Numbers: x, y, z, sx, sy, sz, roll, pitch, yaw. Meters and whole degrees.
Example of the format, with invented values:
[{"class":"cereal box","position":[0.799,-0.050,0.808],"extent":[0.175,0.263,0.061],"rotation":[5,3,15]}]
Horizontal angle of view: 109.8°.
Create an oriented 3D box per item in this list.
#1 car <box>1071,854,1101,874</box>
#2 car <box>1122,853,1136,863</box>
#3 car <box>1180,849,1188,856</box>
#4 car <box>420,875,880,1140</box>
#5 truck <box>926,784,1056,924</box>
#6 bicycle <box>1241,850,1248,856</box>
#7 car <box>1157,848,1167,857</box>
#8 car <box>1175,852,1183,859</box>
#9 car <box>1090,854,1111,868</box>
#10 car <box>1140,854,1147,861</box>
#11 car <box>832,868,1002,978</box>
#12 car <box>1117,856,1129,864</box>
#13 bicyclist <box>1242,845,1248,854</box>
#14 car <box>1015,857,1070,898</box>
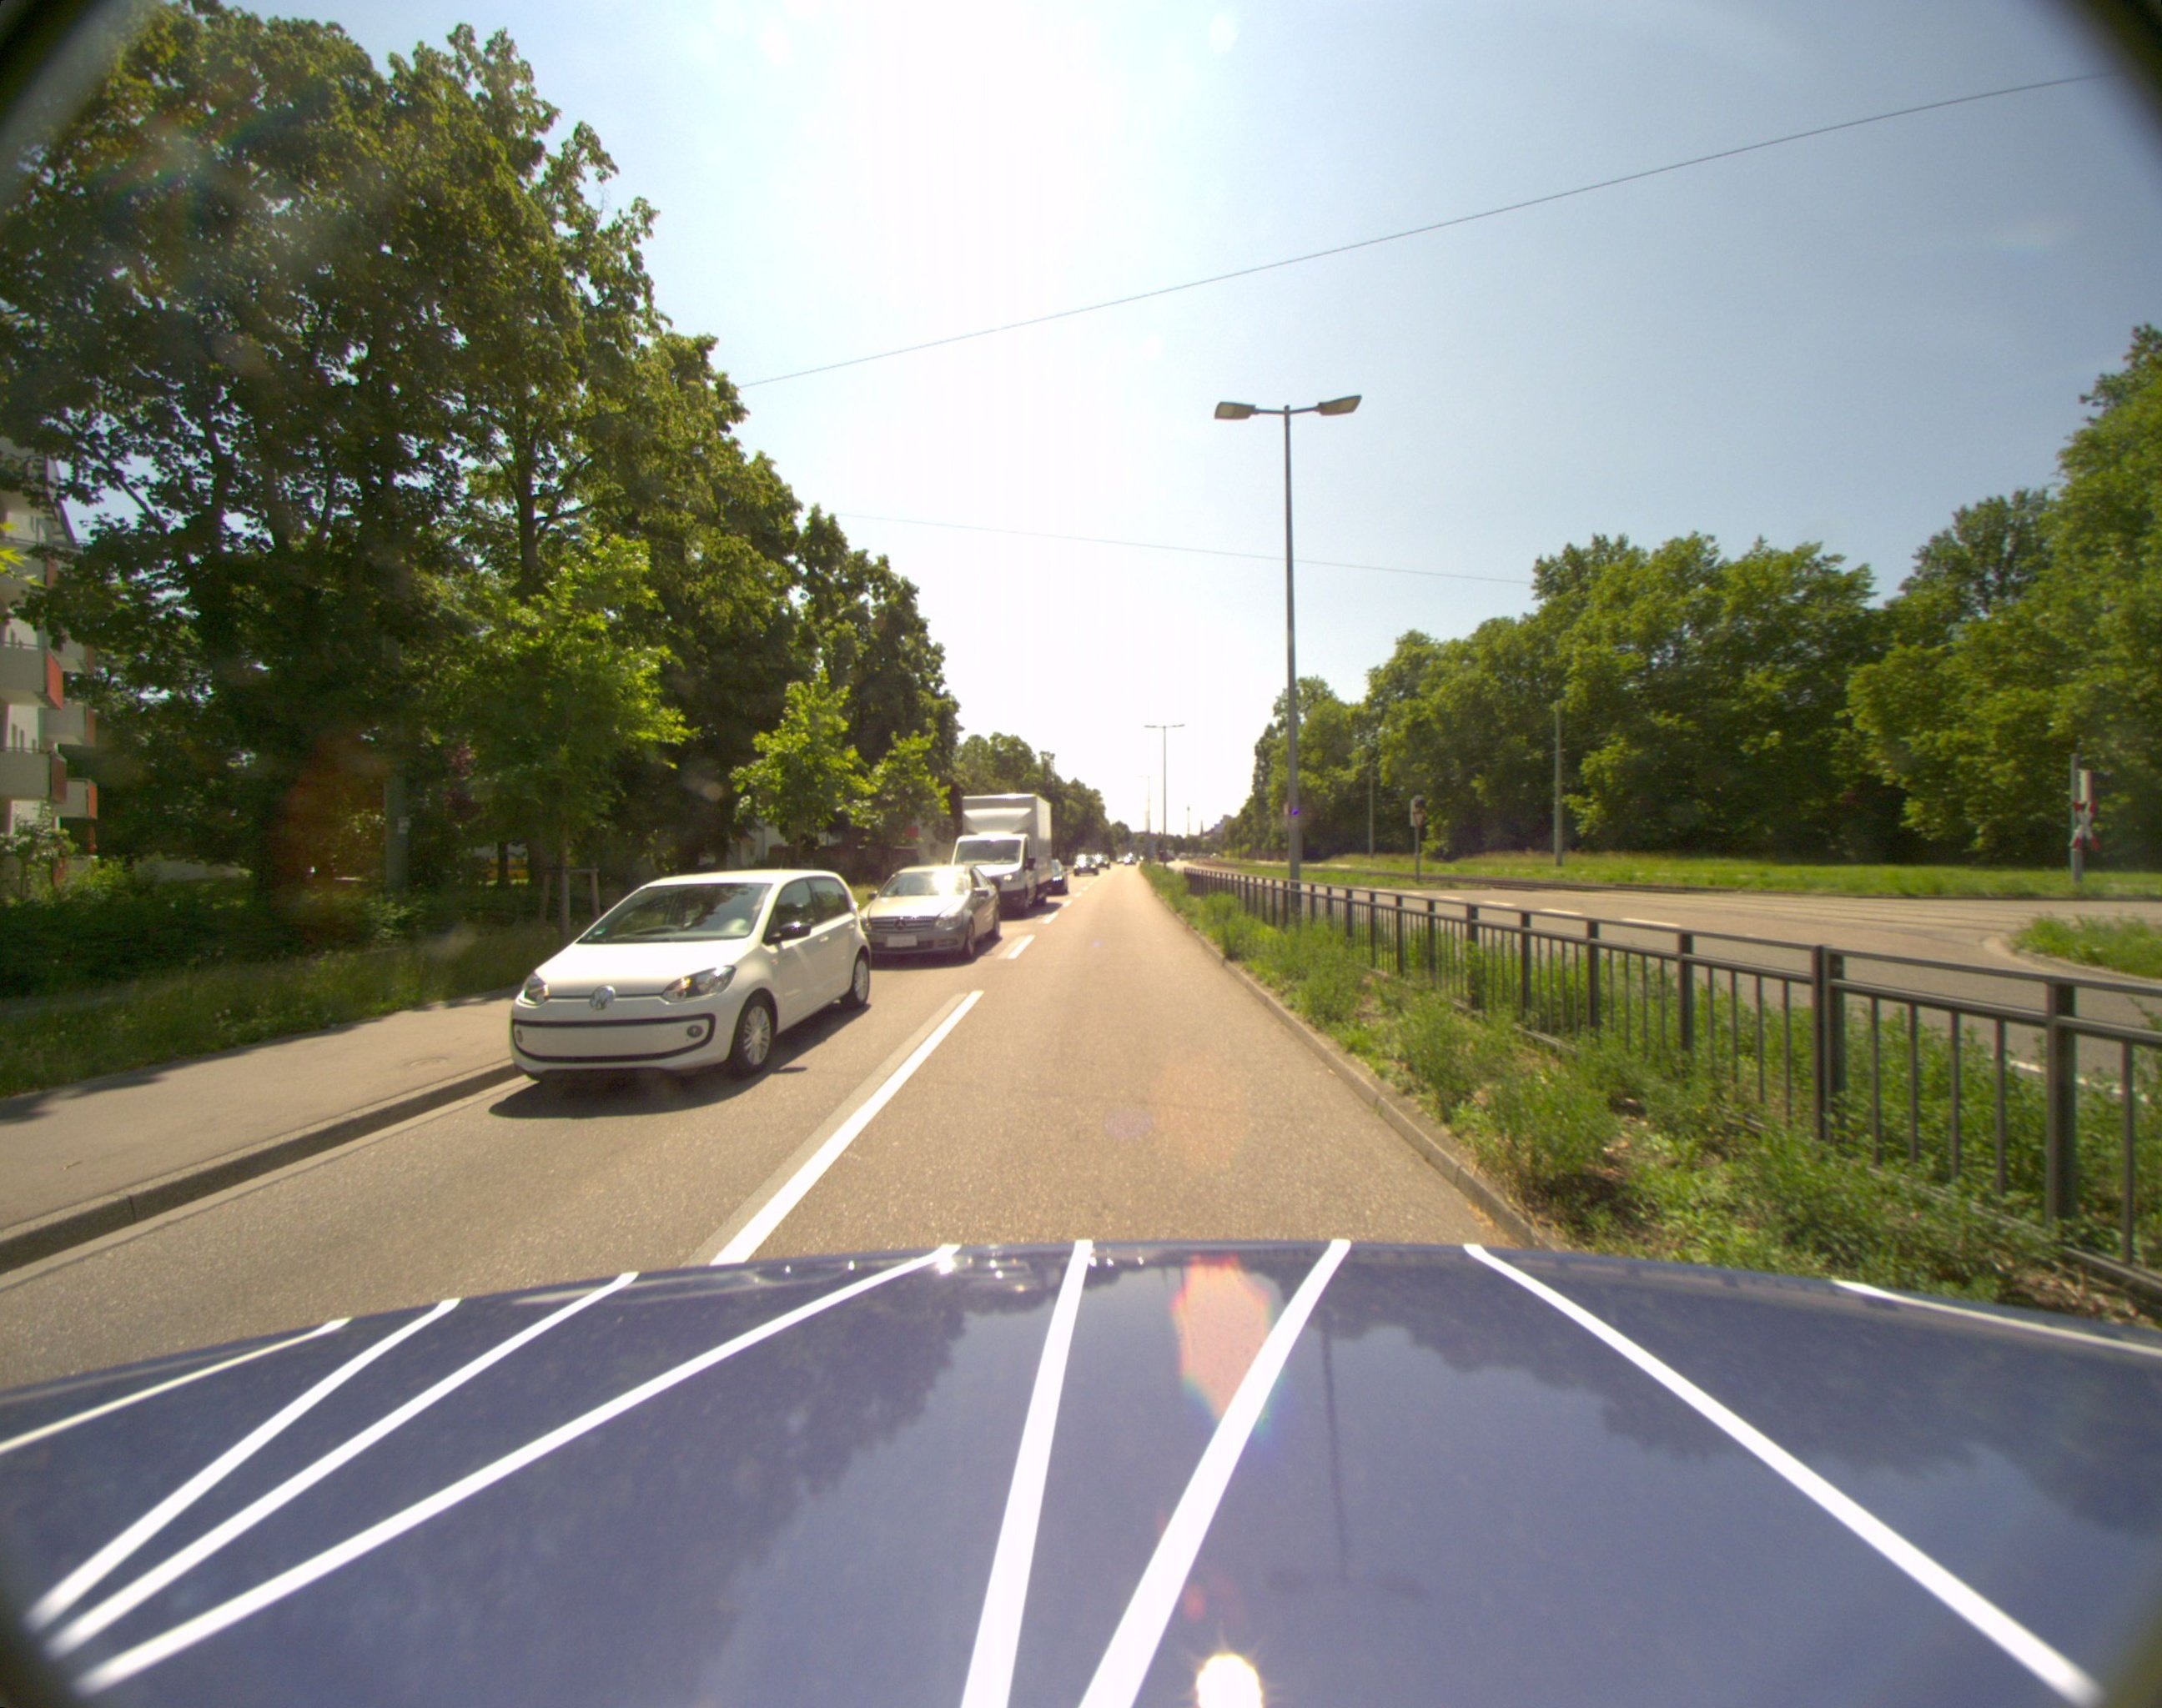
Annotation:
[{"class":"car","position":[0.466,0.814,61.593],"extent":[1.997,1.499,4.002],"rotation":[-1,0,7]},{"class":"car","position":[7.529,0.569,119.258],"extent":[1.997,1.499,4.002],"rotation":[-1,0,7]},{"class":"car","position":[27.189,-0.399,200.821],"extent":[1.998,1.847,4.001],"rotation":[-1,0,5]},{"class":"car","position":[-3.125,0.990,6.514],"extent":[1.730,1.470,3.771],"rotation":[-1,0,1]},{"class":"truck","position":[-2.297,-0.007,22.274],"extent":[2.433,3.326,7.923],"rotation":[-1,0,3]},{"class":"bicycle","position":[32.634,-0.295,151.391],"extent":[0.862,1.155,2.787],"rotation":[-1,0,1]},{"class":"car","position":[16.397,-0.349,153.818],"extent":[1.997,1.847,4.002],"rotation":[-1,0,7]},{"class":"car","position":[27.131,0.287,210.156],"extent":[1.998,1.847,4.001],"rotation":[-1,0,5]},{"class":"car","position":[2.200,0.775,86.573],"extent":[1.997,1.499,4.002],"rotation":[-1,0,7]},{"class":"car","position":[16.784,0.845,203.665],"extent":[1.998,1.847,4.001],"rotation":[-1,0,5]},{"class":"car","position":[-2.473,0.987,12.536],"extent":[1.840,1.400,4.087],"rotation":[-1,0,1]},{"class":"car","position":[8.002,1.067,143.916],"extent":[1.951,1.499,4.002],"rotation":[-1,0,7]},{"class":"bicyclist","position":[32.648,-0.851,151.328],"extent":[0.862,1.796,1.118],"rotation":[-1,1,1]},{"class":"car","position":[-1.504,0.915,31.450],"extent":[1.998,1.499,4.000],"rotation":[-1,0,1]}]
